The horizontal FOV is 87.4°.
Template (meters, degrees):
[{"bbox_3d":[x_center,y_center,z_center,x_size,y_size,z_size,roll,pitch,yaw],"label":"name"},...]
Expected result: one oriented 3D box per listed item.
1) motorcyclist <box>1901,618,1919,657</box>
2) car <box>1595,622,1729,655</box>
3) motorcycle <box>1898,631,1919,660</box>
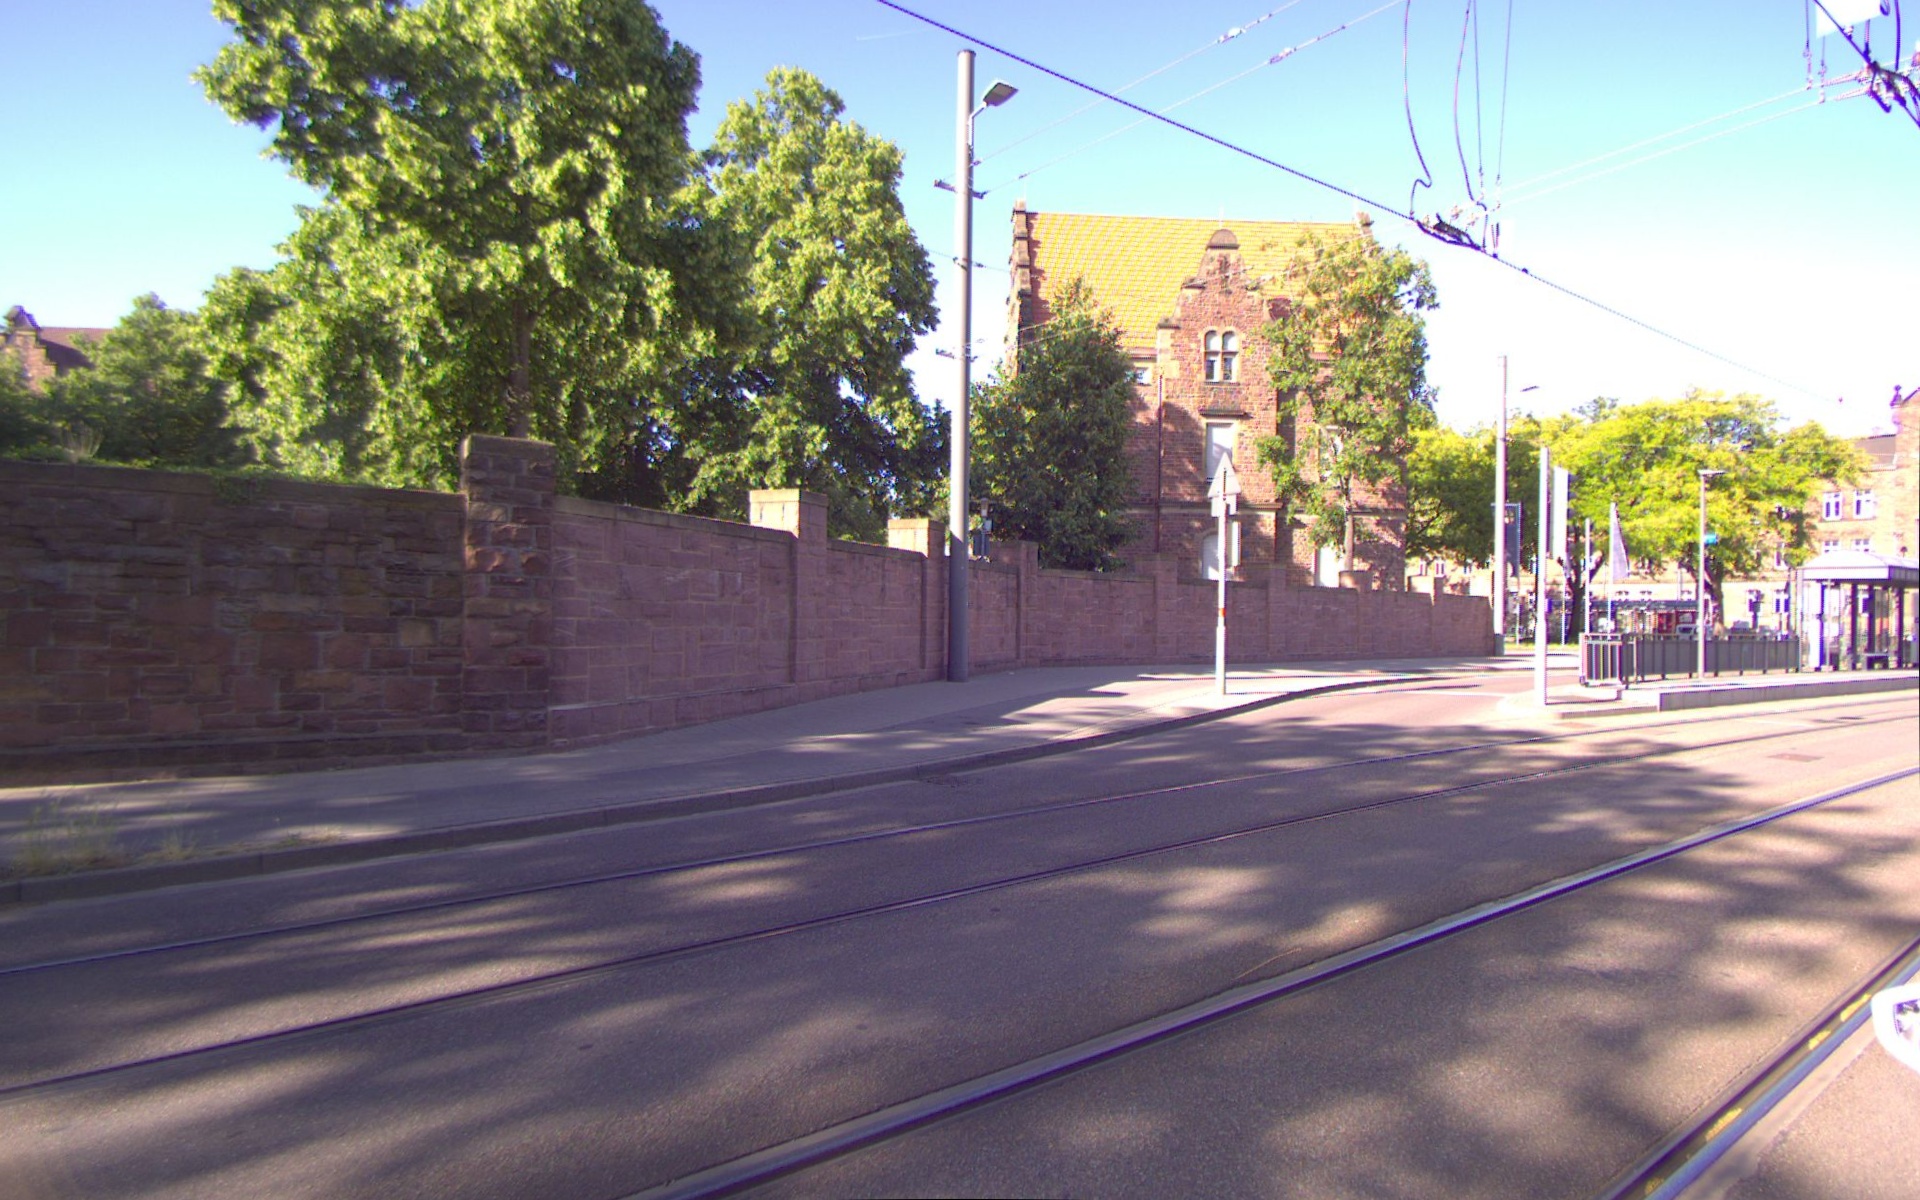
[{"bbox_3d":[40.638,1.588,42.803,0.836,1.643,0.609,1,0,-34],"label":"motorcyclist"},{"bbox_3d":[47.931,2.592,68.796,2.957,1.946,6.915,1,-1,-30],"label":"car"},{"bbox_3d":[40.764,1.924,42.887,2.054,1.214,0.608,1,0,-34],"label":"motorcycle"}]
